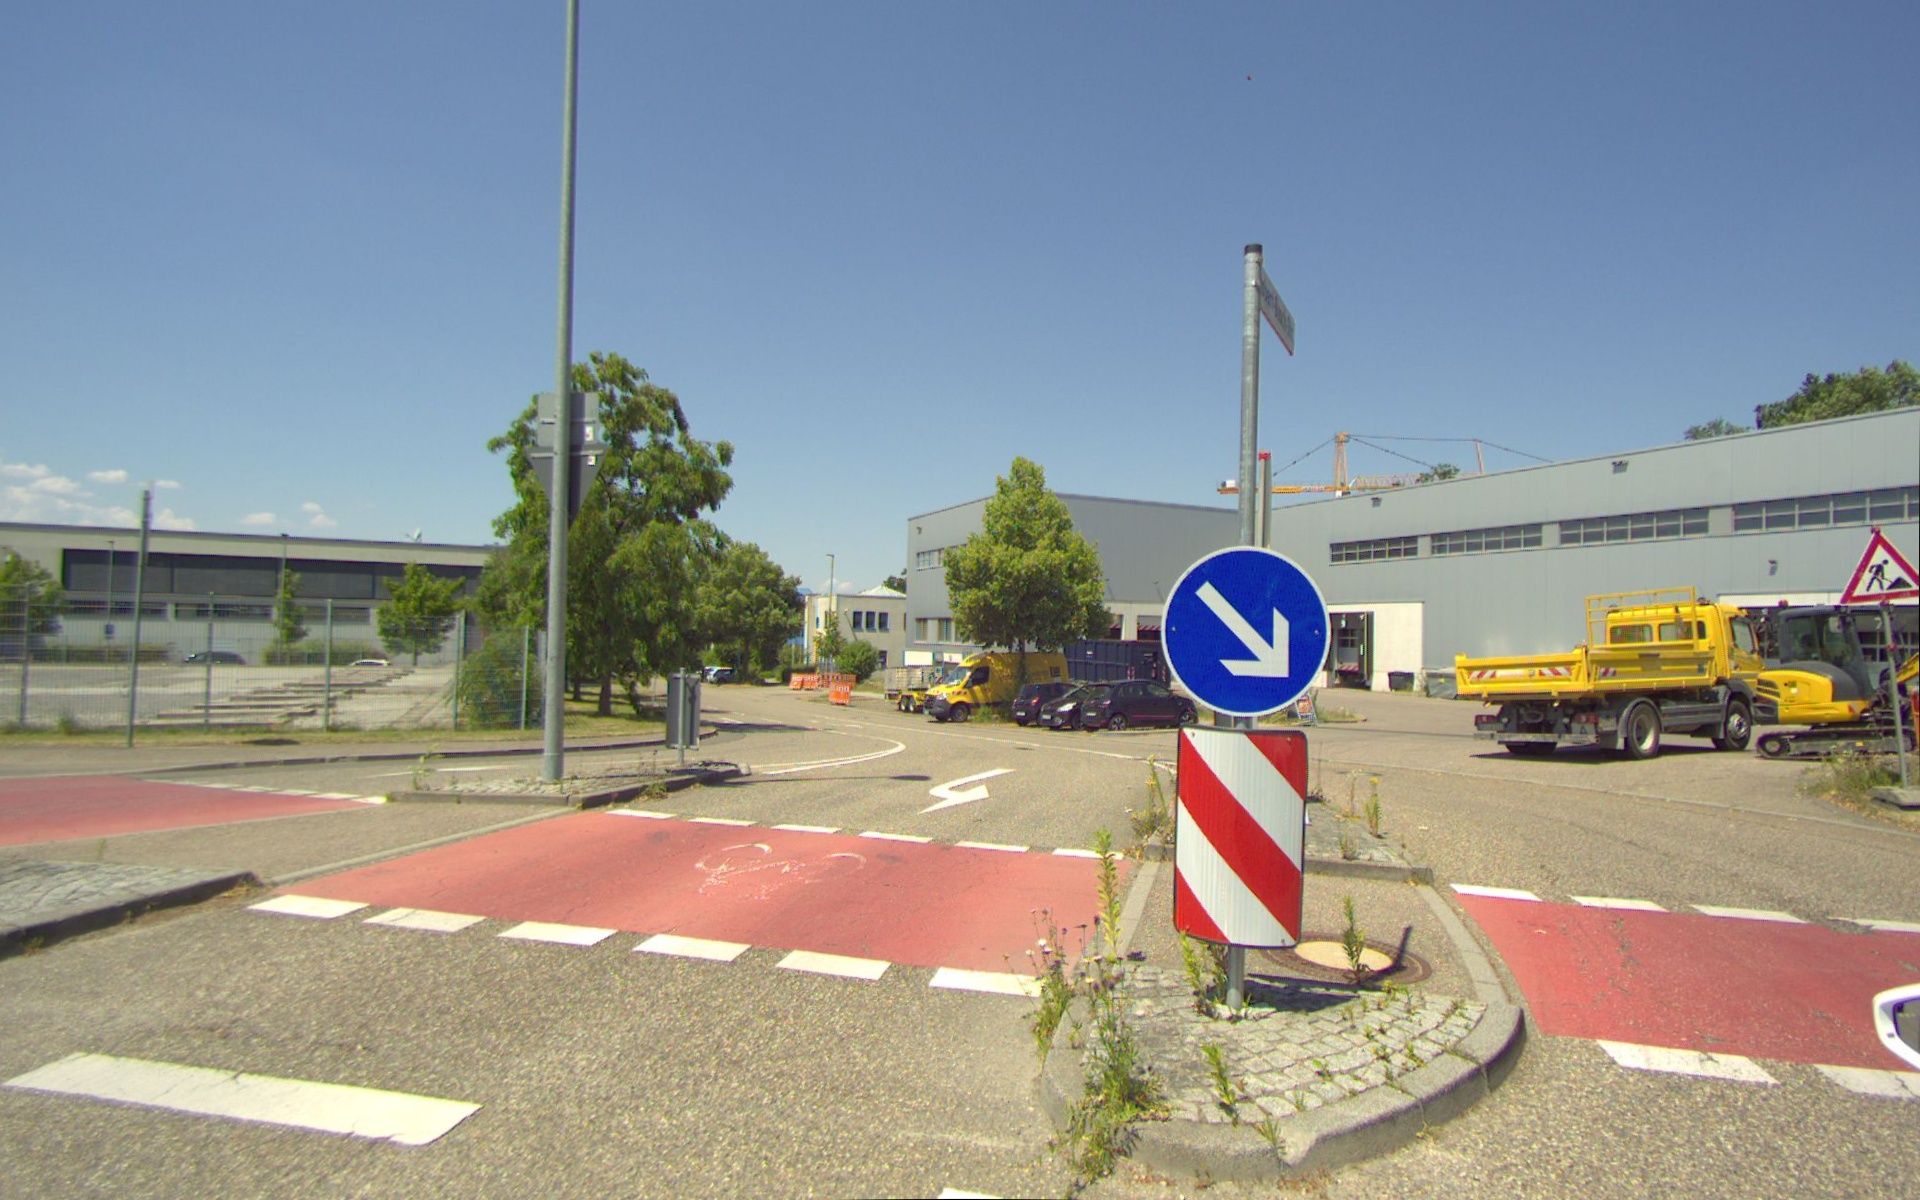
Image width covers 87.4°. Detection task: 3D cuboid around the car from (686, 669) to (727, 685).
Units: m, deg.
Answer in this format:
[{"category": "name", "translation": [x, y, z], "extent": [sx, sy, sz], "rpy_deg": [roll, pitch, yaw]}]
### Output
[{"category": "car", "translation": [-23.987, 7.243, 95.063], "extent": [3.484, 1.372, 1.527], "rpy_deg": [0, -3, -28]}]

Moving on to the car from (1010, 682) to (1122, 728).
[{"category": "car", "translation": [3.669, 3.630, 34.854], "extent": [3.566, 1.497, 1.618], "rpy_deg": [3, -4, -26]}]

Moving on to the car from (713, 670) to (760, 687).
[{"category": "car", "translation": [-19.321, 6.772, 86.825], "extent": [3.645, 1.372, 1.634], "rpy_deg": [0, -3, -28]}]

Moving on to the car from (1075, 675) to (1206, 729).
[{"category": "car", "translation": [5.458, 3.056, 30.471], "extent": [3.621, 1.481, 1.618], "rpy_deg": [1, -4, -24]}]

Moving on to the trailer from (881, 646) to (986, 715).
[{"category": "trailer", "translation": [-1.292, 3.604, 45.614], "extent": [2.631, 2.894, 5.483], "rpy_deg": [1, -3, -27]}]

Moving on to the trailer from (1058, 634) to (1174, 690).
[{"category": "trailer", "translation": [8.107, 3.232, 53.369], "extent": [2.629, 2.452, 7.376], "rpy_deg": [3, -1, -21]}]

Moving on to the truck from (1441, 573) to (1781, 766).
[{"category": "truck", "translation": [12.497, 1.253, 19.220], "extent": [6.344, 3.176, 2.578], "rpy_deg": [0, -4, -28]}]

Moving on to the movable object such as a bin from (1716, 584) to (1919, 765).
[{"category": "movable object such as a bin", "translation": [14.962, 1.079, 14.422], "extent": [1.969, 2.614, 6.554], "rpy_deg": [3, -5, -18]}]

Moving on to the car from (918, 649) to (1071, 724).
[{"category": "car", "translation": [1.373, 3.283, 39.047], "extent": [5.721, 2.768, 1.988], "rpy_deg": [1, -3, -26]}]

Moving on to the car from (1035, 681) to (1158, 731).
[{"category": "car", "translation": [4.424, 3.398, 32.459], "extent": [3.733, 1.526, 1.581], "rpy_deg": [2, -4, -26]}]

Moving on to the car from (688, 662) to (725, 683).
[{"category": "car", "translation": [-28.232, 8.083, 112.066], "extent": [3.683, 2.137, 1.804], "rpy_deg": [3, -5, -24]}]
